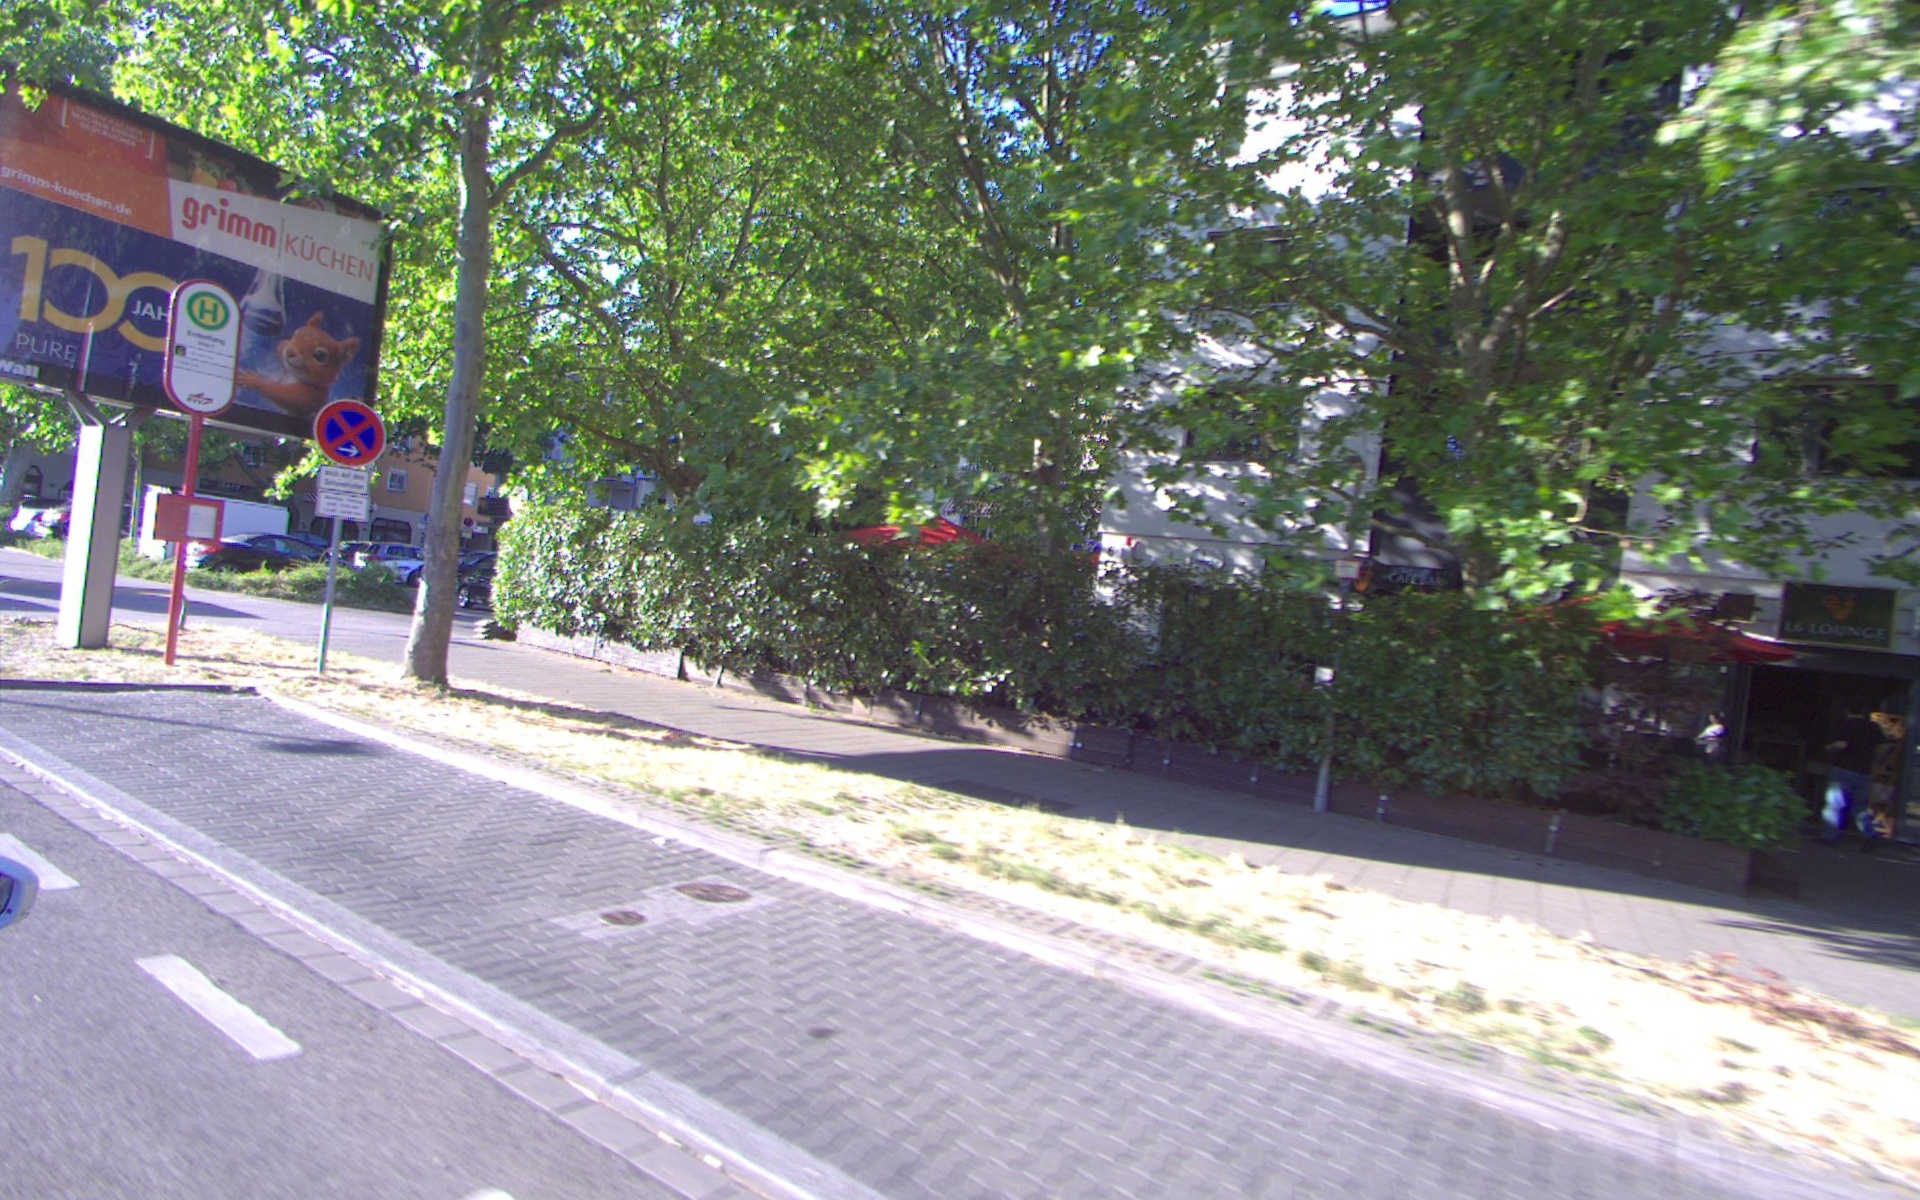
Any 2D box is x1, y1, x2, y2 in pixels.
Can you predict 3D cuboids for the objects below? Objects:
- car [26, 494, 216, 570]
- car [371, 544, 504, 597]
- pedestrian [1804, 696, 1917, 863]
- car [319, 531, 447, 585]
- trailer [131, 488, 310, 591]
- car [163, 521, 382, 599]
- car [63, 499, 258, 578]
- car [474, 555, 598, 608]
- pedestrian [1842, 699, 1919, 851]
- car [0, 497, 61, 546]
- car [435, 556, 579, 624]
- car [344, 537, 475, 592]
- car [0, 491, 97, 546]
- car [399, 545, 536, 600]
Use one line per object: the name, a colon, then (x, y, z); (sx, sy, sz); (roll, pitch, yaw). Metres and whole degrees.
car: (-24.752, -1.968, 29.822); (1.679, 1.657, 3.924); (6, -1, 33)
car: (-20.724, -1.143, 40.059); (1.842, 1.663, 4.278); (6, 1, 33)
pedestrian: (11.169, 2.191, 12.507); (0.688, 1.895, 0.741); (7, 0, 26)
car: (-24.497, -1.760, 42.855); (1.842, 1.662, 4.281); (7, -1, 33)
trailer: (-18.643, -1.487, 25.450); (1.849, 2.094, 3.067); (7, -1, 34)
car: (-16.382, -0.916, 24.156); (1.679, 1.352, 3.923); (6, -1, 34)
car: (-22.613, -1.691, 28.595); (1.679, 1.656, 3.924); (6, -1, 33)
car: (-15.908, -0.673, 37.882); (1.800, 1.575, 3.895); (6, 1, 33)
pedestrian: (12.505, 2.318, 13.507); (0.689, 1.895, 0.740); (7, 0, 32)
car: (-36.060, -3.081, 37.133); (1.679, 1.607, 3.924); (6, -1, 33)
car: (-13.256, -0.294, 29.369); (4.172, 1.454, 1.792); (7, -1, 34)
car: (-22.611, -1.438, 41.471); (1.842, 1.662, 4.282); (7, -1, 33)
car: (-33.970, -3.026, 36.302); (1.679, 1.607, 3.924); (6, -1, 33)
car: (-18.780, -1.016, 38.541); (1.842, 1.663, 4.278); (6, 1, 33)
